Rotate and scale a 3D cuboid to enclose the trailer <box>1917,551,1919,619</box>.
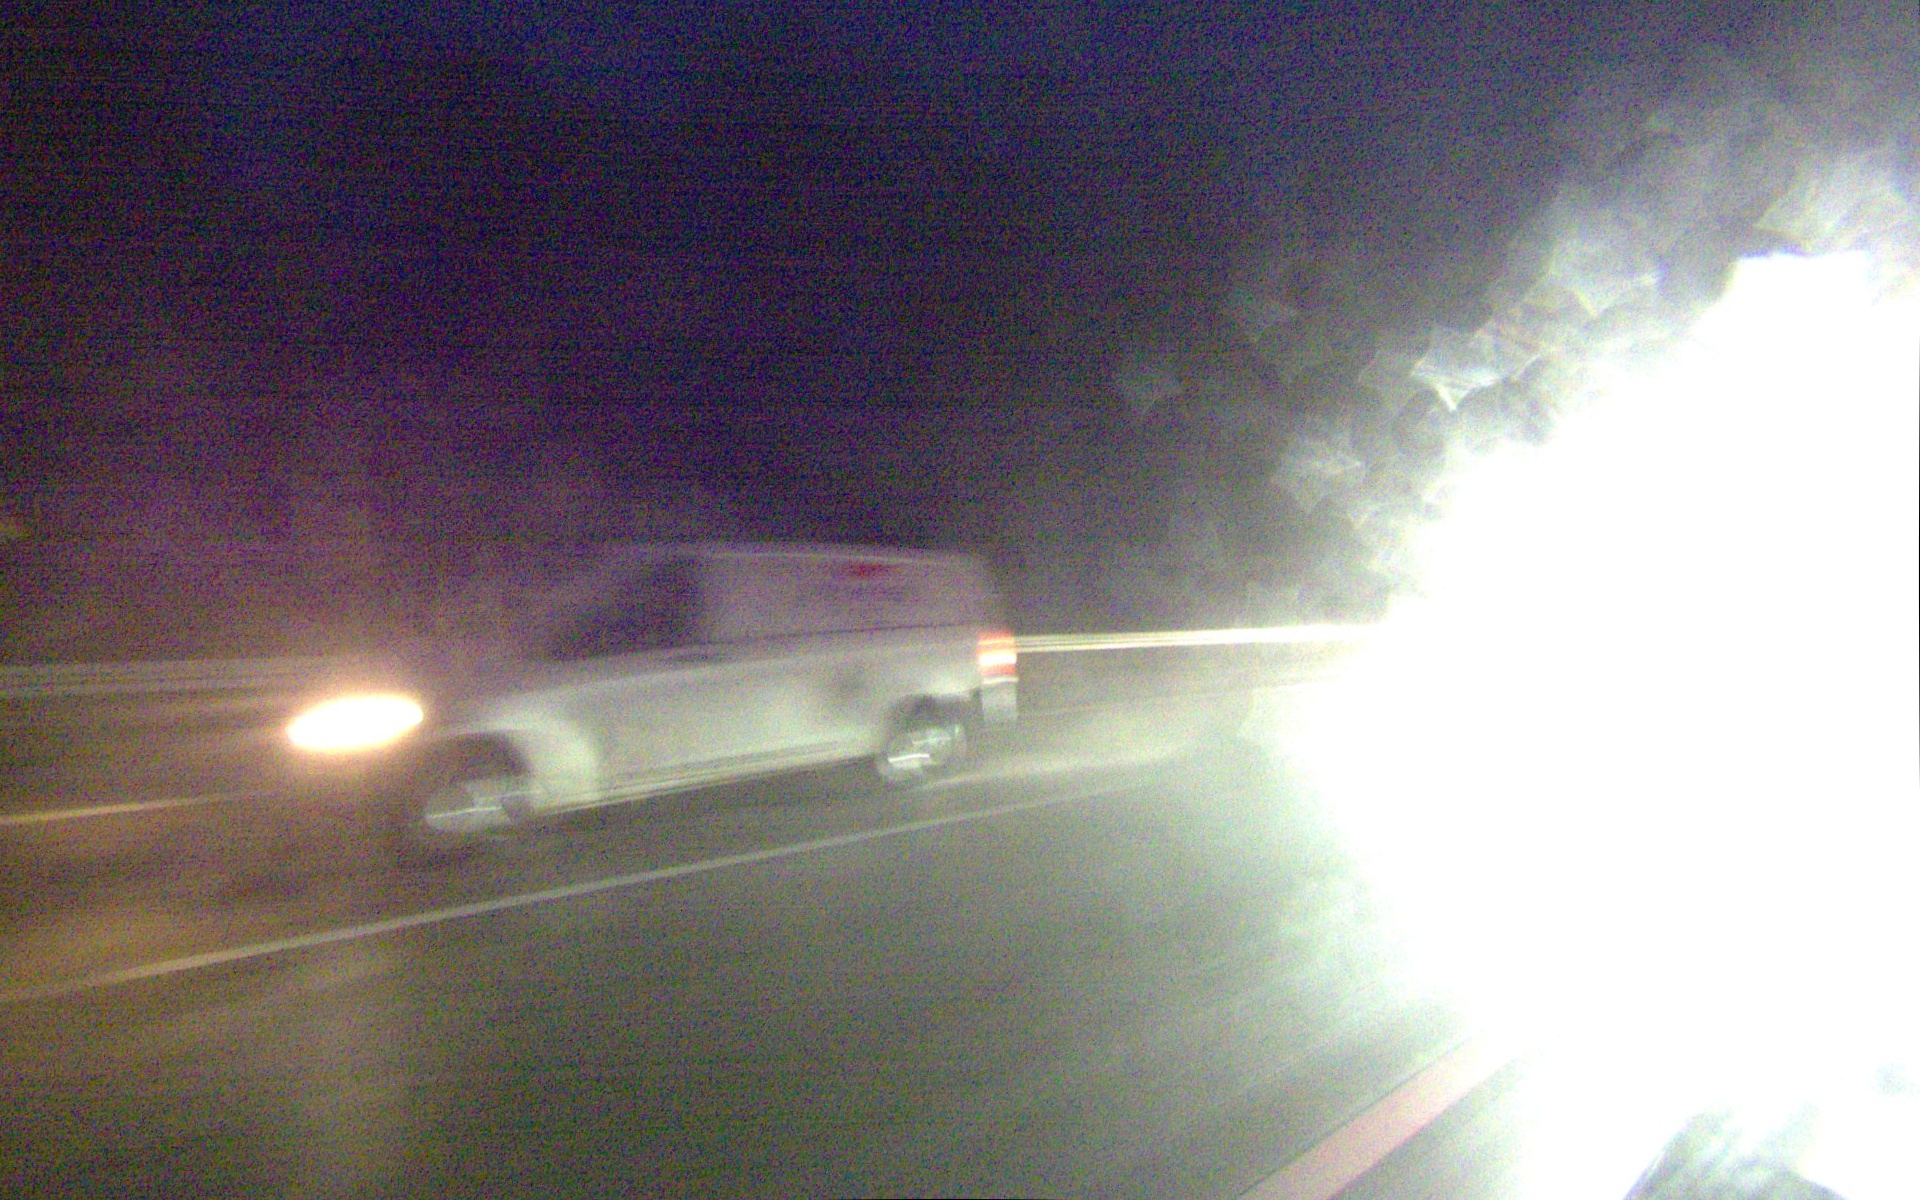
[{"bbox_3d":[64.184,-0.999,64.622,13.398,4.149,2.871,-1,0,-40],"label":"trailer"}]

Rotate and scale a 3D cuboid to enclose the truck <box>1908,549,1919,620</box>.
[{"bbox_3d":[58.973,-0.932,60.203,6.888,4.155,2.865,0,0,-40],"label":"truck"}]

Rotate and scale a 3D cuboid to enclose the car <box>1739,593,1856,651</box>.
[{"bbox_3d":[23.882,0.579,28.777,5.272,1.498,1.746,0,0,-41],"label":"car"}]

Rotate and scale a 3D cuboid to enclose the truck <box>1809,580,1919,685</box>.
[{"bbox_3d":[17.246,0.510,18.540,4.769,1.717,1.847,-1,0,-41],"label":"truck"}]

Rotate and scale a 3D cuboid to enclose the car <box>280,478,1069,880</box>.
[{"bbox_3d":[-1.754,0.364,7.568,5.313,1.999,2.050,0,1,-41],"label":"car"}]
